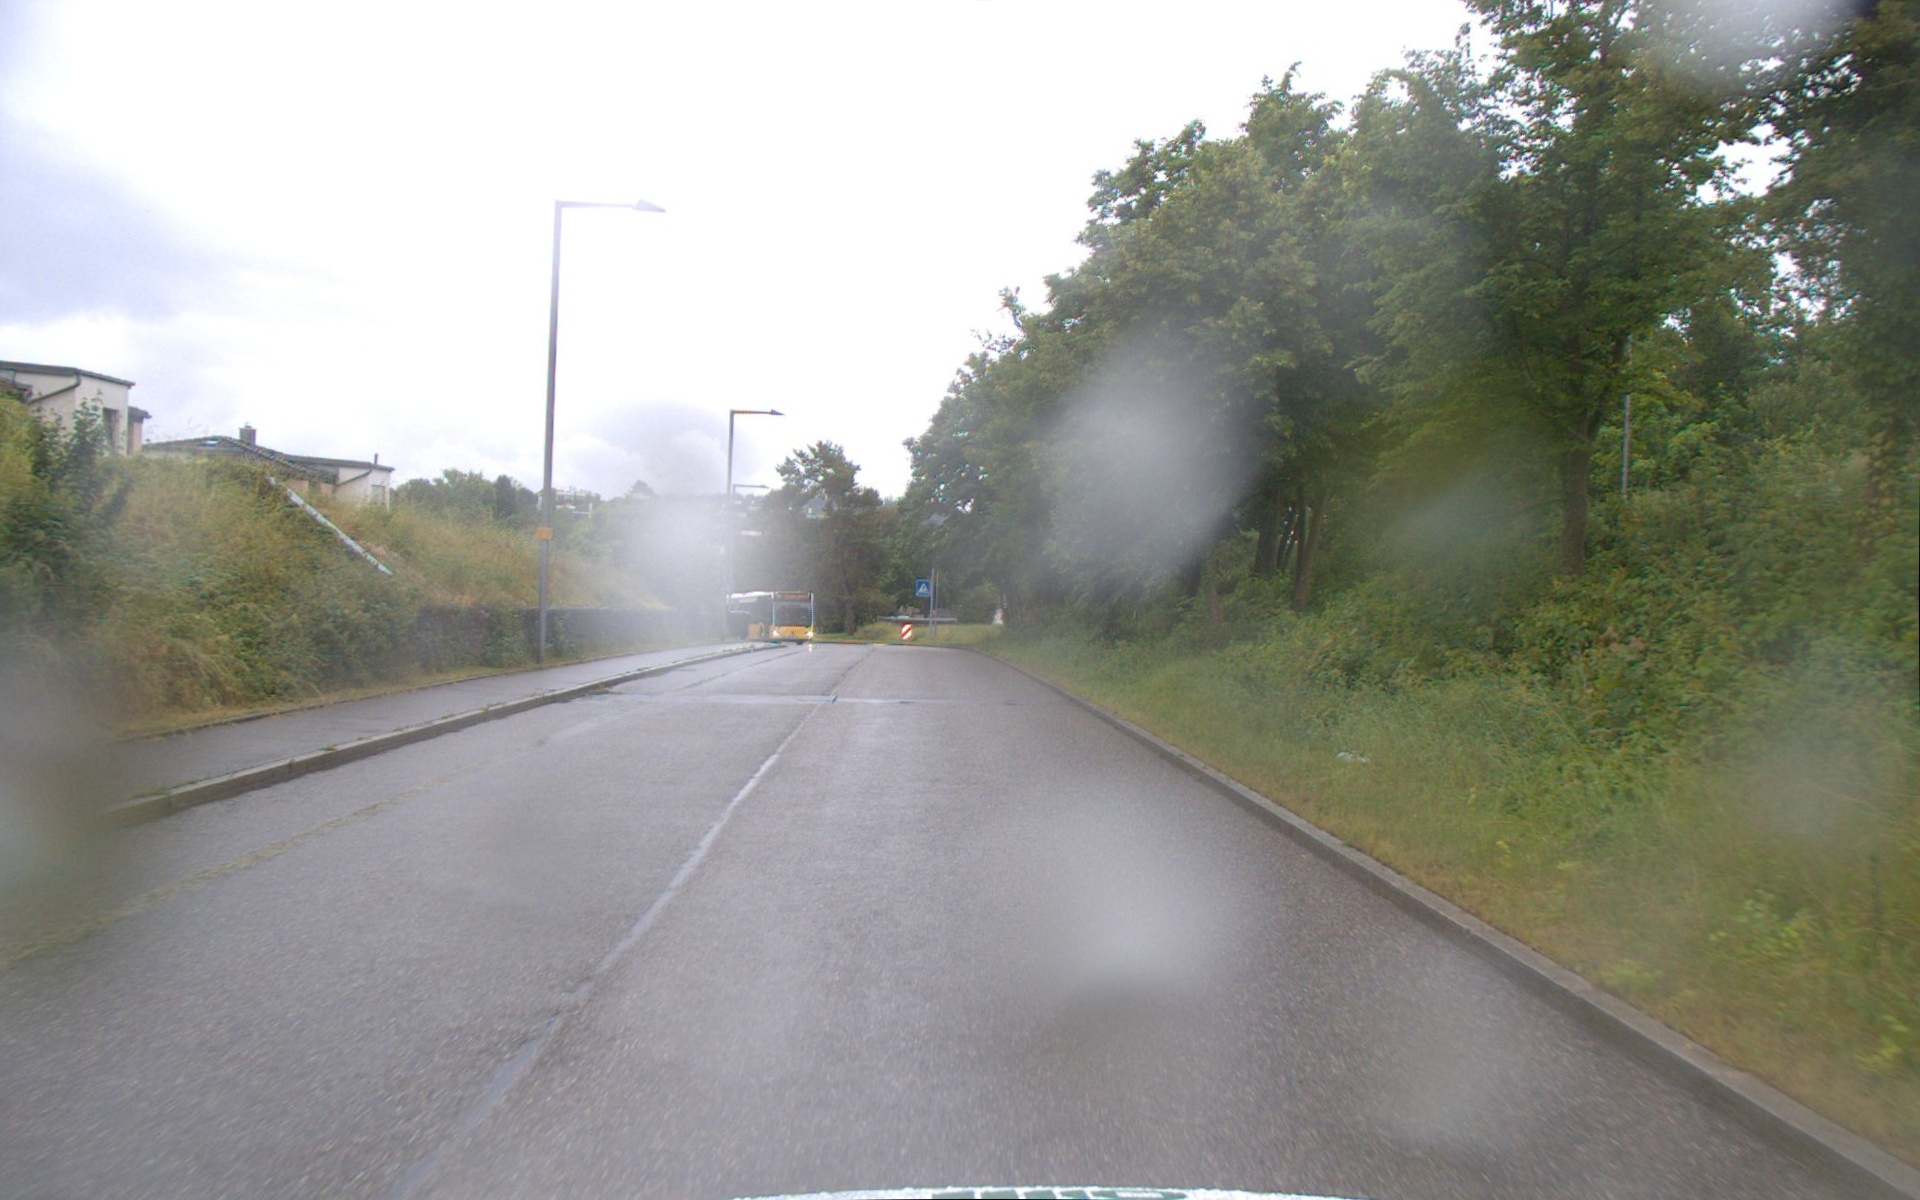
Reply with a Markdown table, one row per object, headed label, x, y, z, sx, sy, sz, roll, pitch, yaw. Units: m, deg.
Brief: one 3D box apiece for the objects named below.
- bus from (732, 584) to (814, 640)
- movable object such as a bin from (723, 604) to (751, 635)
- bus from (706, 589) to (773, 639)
| label | x | y | z | sx | sy | sz | roll | pitch | yaw |
| --- | --- | --- | --- | --- | --- | --- | --- | --- | --- |
| bus | -11.210 | 0.781 | 98.250 | 2.600 | 3.121 | 10.795 | 1 | -1 | -19 |
| movable object such as a bin | -10.587 | 0.913 | 78.458 | 1.111 | 1.362 | 1.394 | 4 | -2 | -11 |
| bus | -14.290 | 0.922 | 106.879 | 2.601 | 3.086 | 7.618 | 2 | -1 | -20 |
